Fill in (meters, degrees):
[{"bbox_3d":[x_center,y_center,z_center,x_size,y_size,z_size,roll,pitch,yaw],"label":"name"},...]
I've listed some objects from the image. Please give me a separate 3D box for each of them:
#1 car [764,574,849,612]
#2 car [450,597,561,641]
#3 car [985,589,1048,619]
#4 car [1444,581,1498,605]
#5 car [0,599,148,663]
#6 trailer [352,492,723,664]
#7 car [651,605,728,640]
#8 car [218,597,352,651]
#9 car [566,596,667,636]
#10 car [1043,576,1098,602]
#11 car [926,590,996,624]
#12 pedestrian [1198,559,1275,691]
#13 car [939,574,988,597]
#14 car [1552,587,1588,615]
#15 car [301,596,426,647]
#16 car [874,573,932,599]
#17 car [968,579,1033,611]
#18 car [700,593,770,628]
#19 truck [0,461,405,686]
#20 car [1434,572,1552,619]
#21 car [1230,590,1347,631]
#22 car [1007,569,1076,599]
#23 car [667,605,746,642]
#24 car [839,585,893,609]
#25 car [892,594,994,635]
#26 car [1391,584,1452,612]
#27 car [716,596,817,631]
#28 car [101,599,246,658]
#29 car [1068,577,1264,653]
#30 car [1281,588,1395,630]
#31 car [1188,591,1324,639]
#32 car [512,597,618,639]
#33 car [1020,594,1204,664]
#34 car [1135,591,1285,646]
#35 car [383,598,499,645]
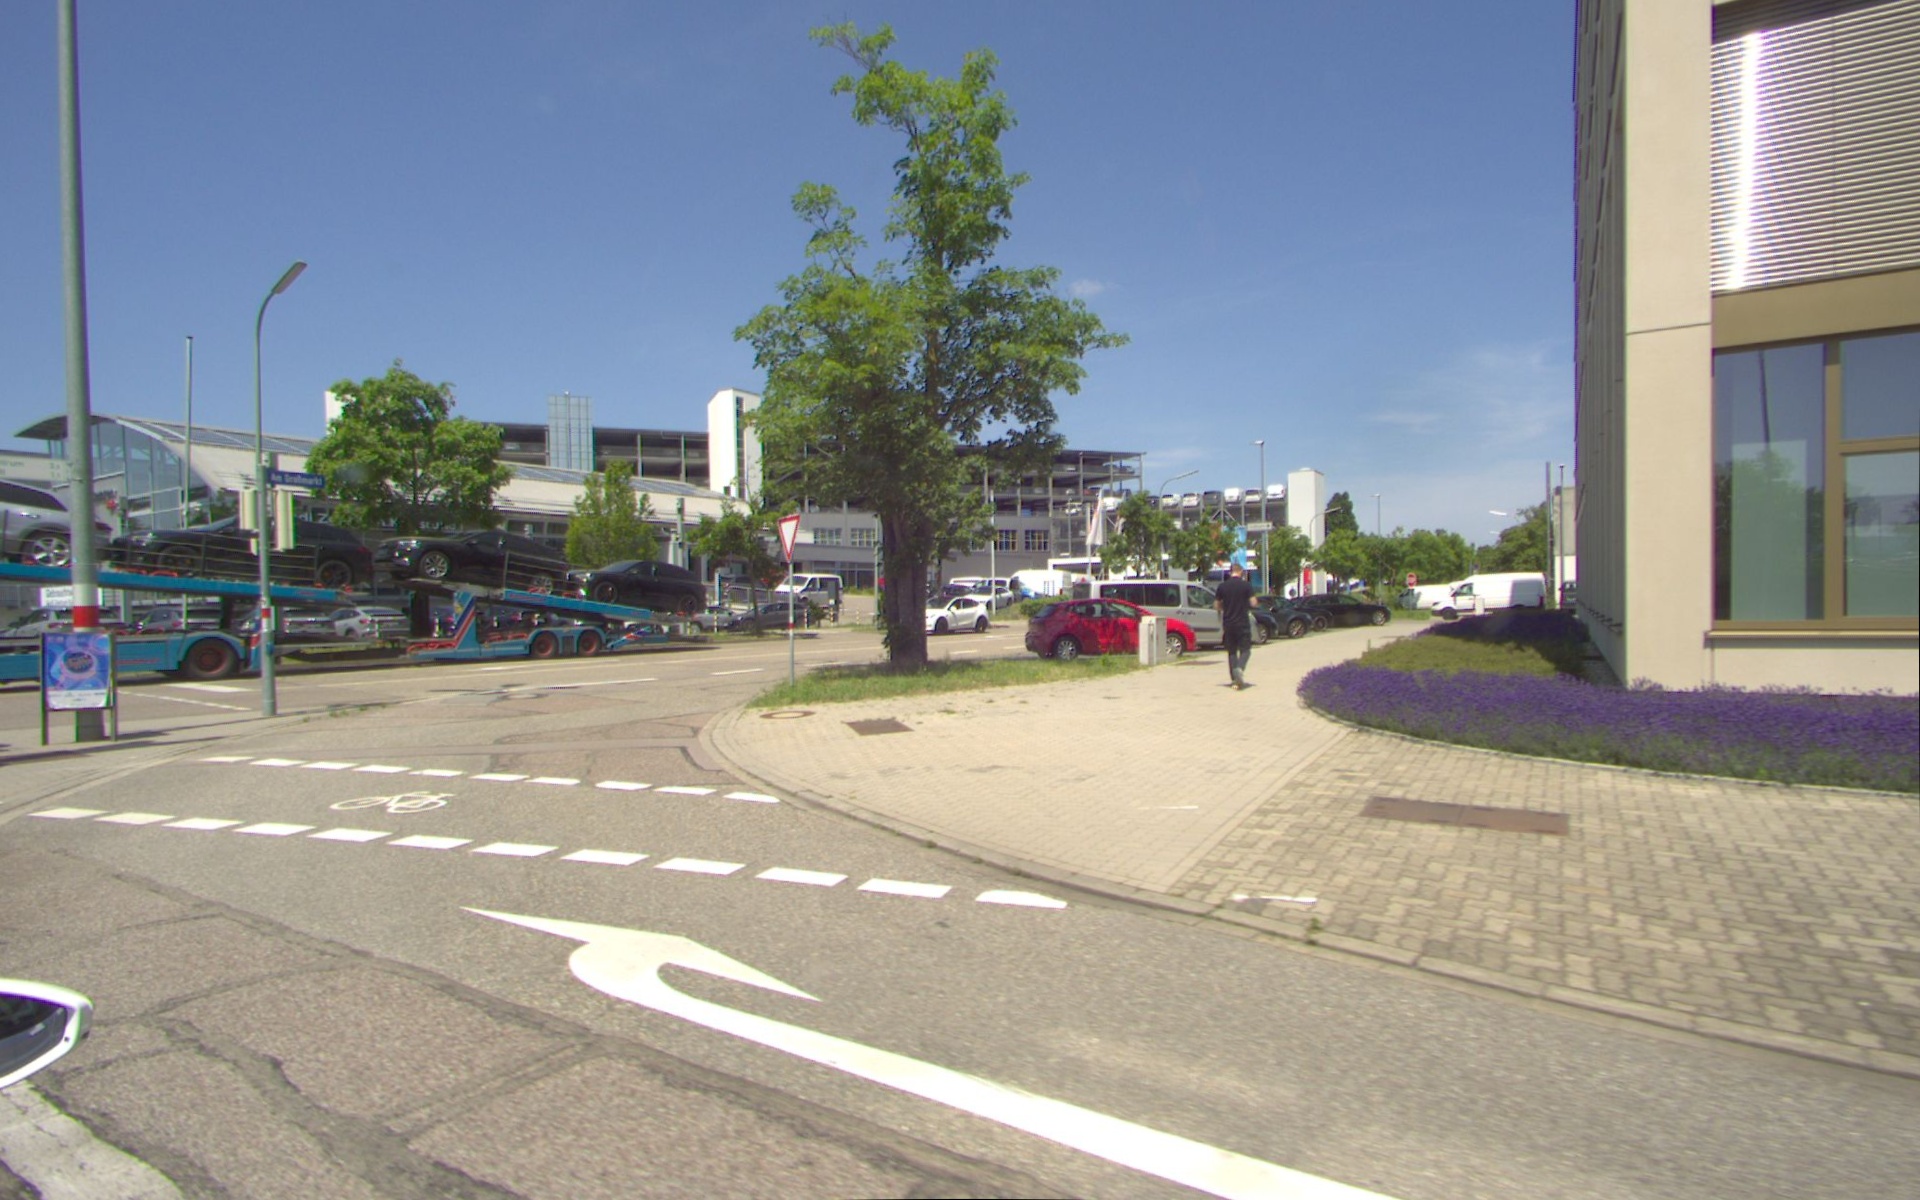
[{"bbox_3d":[-8.669,-0.418,57.090,1.971,2.040,5.118,-1,0,31],"label":"car"},{"bbox_3d":[-18.048,0.724,39.712,4.407,1.661,1.825,0,0,30],"label":"car"},{"bbox_3d":[3.975,0.295,70.189,3.942,2.040,1.990,-1,1,31],"label":"car"},{"bbox_3d":[48.186,-0.652,94.390,4.302,2.149,2.081,-1,1,35],"label":"car"},{"bbox_3d":[-25.001,0.811,28.211,4.206,1.662,1.990,0,1,31],"label":"car"},{"bbox_3d":[-11.619,-0.532,28.822,3.056,4.135,9.575,0,0,37],"label":"trailer"},{"bbox_3d":[-14.791,1.226,54.757,3.713,1.795,1.761,-1,0,-29],"label":"car"},{"bbox_3d":[-22.155,0.737,32.845,4.376,1.662,1.990,0,1,31],"label":"car"},{"bbox_3d":[-15.227,0.691,44.310,4.408,1.662,1.824,0,1,31],"label":"car"},{"bbox_3d":[9.011,-0.860,81.760,3.944,2.040,1.989,-1,1,33],"label":"car"},{"bbox_3d":[0.063,0.434,63.021,3.942,2.040,1.990,-1,1,31],"label":"car"},{"bbox_3d":[4.065,0.357,14.698,0.764,1.869,0.861,-2,0,39],"label":"pedestrian"},{"bbox_3d":[0.333,-1.372,95.557,4.255,2.040,1.990,-1,1,31],"label":"car"},{"bbox_3d":[35.799,0.053,58.767,1.764,1.542,3.557,-1,0,32],"label":"car"},{"bbox_3d":[-20.845,0.726,34.966,4.458,1.662,1.881,0,1,31],"label":"car"},{"bbox_3d":[-4.662,-1.101,81.243,4.284,2.040,1.991,-1,1,29],"label":"car"},{"bbox_3d":[2.703,-0.306,67.299,3.942,2.040,1.840,-1,1,31],"label":"car"},{"bbox_3d":[-13.512,0.598,60.175,1.838,2.040,3.734,0,1,40],"label":"car"},{"bbox_3d":[-17.770,-0.477,20.780,3.061,4.136,10.577,0,0,37],"label":"truck"},{"bbox_3d":[30.238,-0.232,56.879,5.720,2.568,2.090,0,1,34],"label":"car"},{"bbox_3d":[12.695,0.405,38.811,3.923,1.483,1.718,-1,1,-7],"label":"car"},{"bbox_3d":[5.882,-1.119,72.157,4.577,2.040,1.990,-1,1,31],"label":"car"},{"bbox_3d":[-13.270,1.192,52.475,3.661,1.801,1.738,-1,0,-32],"label":"car"},{"bbox_3d":[-7.274,-0.236,77.610,3.942,1.810,1.730,-1,1,31],"label":"car"},{"bbox_3d":[-0.675,0.588,43.221,1.974,1.610,4.663,2,1,37],"label":"car"},{"bbox_3d":[35.241,-0.157,76.420,3.947,2.040,1.987,-1,1,36],"label":"car"},{"bbox_3d":[-9.770,0.635,50.787,4.704,1.662,1.820,-1,1,-36],"label":"car"},{"bbox_3d":[-23.795,0.804,30.271,4.491,1.662,1.990,0,1,31],"label":"car"},{"bbox_3d":[5.441,0.377,26.632,4.814,1.840,1.703,-1,1,-11],"label":"car"},{"bbox_3d":[15.899,0.398,42.219,4.075,1.558,1.815,-3,-1,1],"label":"car"},{"bbox_3d":[9.666,0.472,32.860,3.924,1.483,1.718,-1,1,-9],"label":"car"},{"bbox_3d":[-16.601,0.713,42.016,4.408,1.662,1.824,0,1,31],"label":"car"},{"bbox_3d":[3.500,0.651,23.369,3.924,1.454,1.609,-1,0,-9],"label":"car"},{"bbox_3d":[7.349,0.526,29.570,3.924,1.483,1.718,-1,1,-9],"label":"car"},{"bbox_3d":[-19.423,0.765,37.460,4.408,1.662,1.824,0,1,31],"label":"car"}]
